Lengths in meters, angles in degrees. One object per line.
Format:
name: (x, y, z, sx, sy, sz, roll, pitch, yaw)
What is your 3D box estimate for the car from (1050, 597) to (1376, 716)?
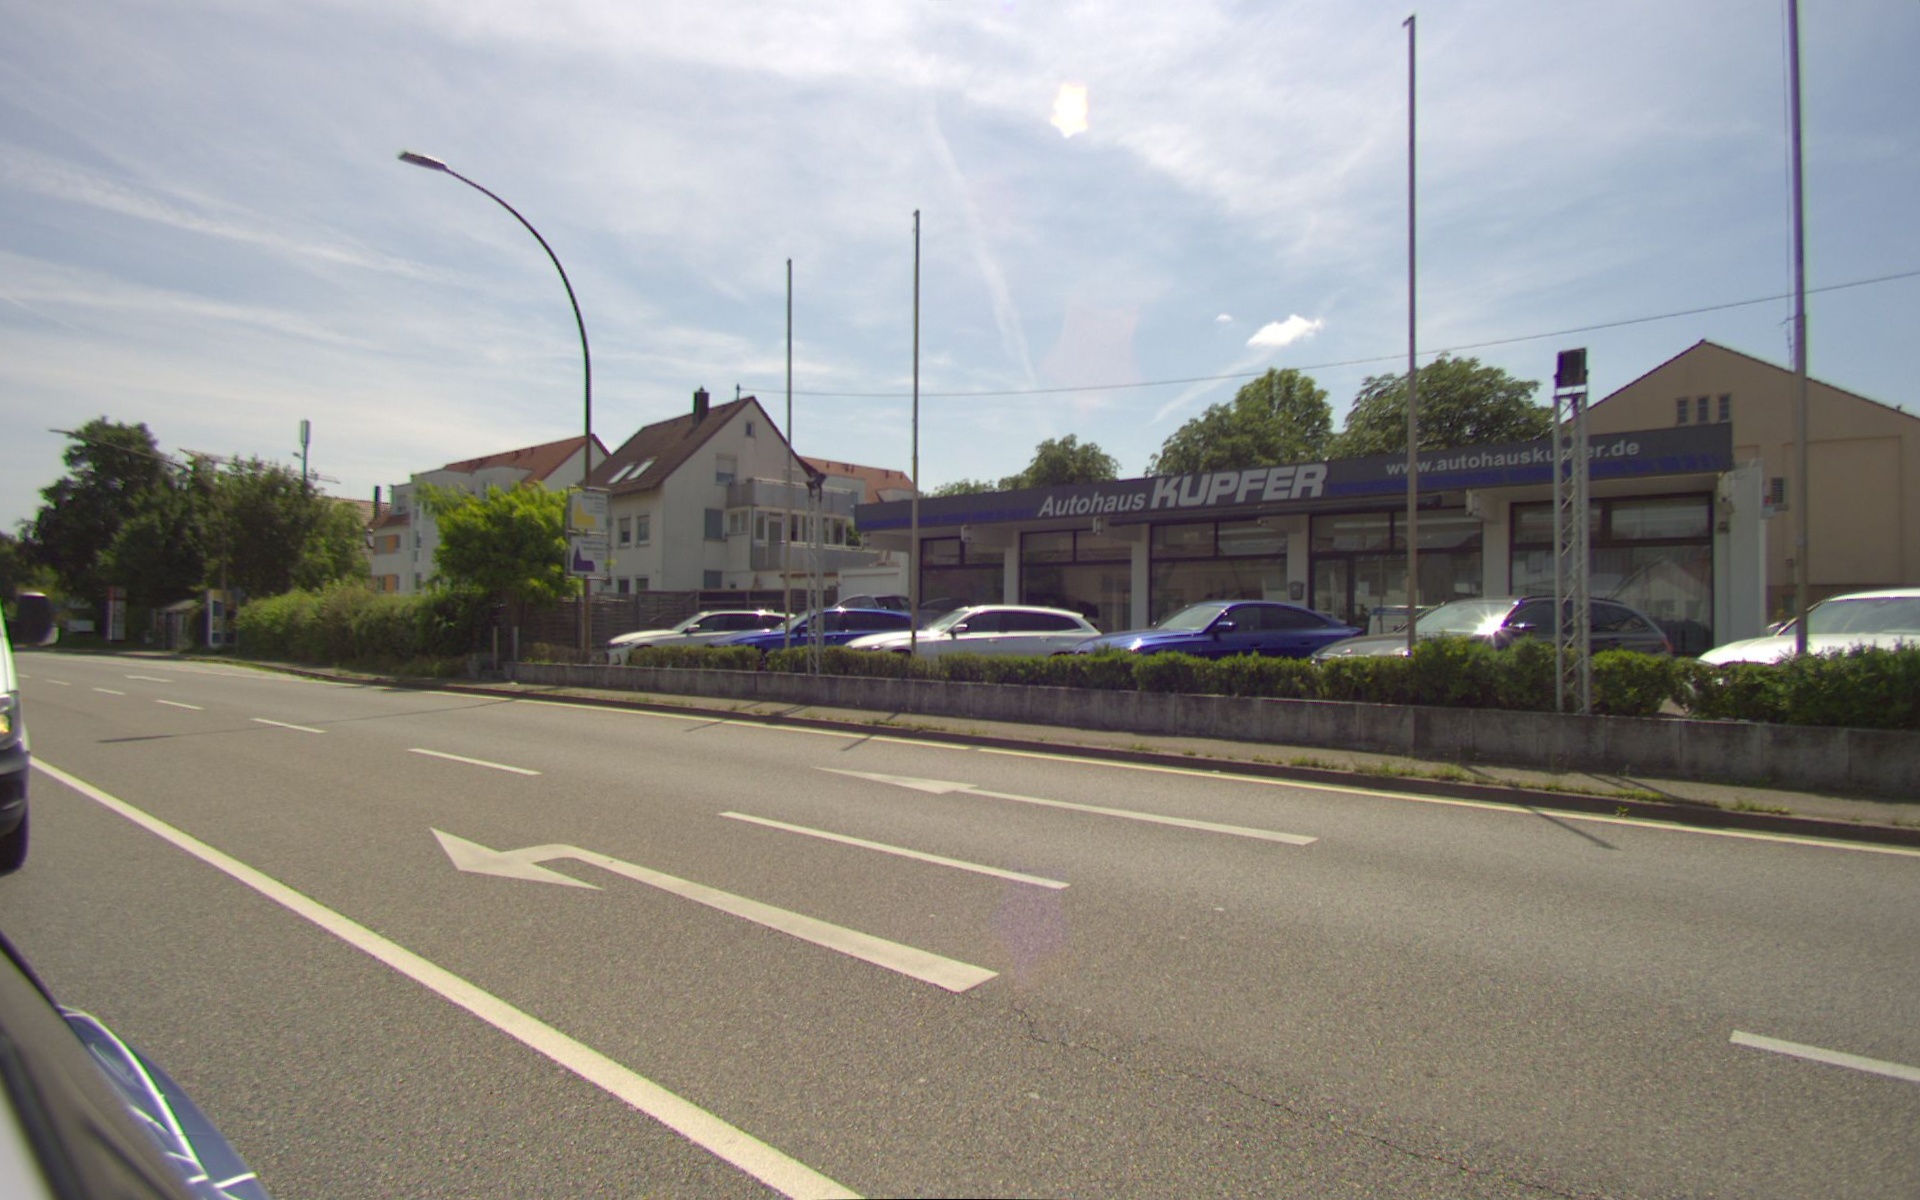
car: (3.669, 0.737, 14.778, 4.267, 1.458, 1.863, -1, 1, -19)

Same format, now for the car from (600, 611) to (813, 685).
car: (-5.791, 1.027, 23.057, 4.501, 1.458, 1.863, -1, 0, -21)

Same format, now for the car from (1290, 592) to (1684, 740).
car: (6.252, 0.654, 11.992, 4.267, 1.458, 1.905, -1, 0, -24)

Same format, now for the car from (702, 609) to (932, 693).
car: (-2.899, 0.959, 20.381, 4.267, 1.458, 1.863, -1, 0, -21)

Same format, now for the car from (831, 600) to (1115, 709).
car: (0.205, 0.847, 17.391, 4.438, 1.458, 1.863, -3, 1, -20)

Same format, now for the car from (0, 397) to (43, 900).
car: (-7.563, 0.296, 6.381, 5.744, 2.548, 1.915, -2, -1, 40)

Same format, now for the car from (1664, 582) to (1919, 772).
car: (8.914, 0.562, 9.496, 4.267, 1.458, 1.863, -1, 0, -24)

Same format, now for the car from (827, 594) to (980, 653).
car: (-1.629, 0.619, 27.693, 1.781, 1.475, 4.589, -1, -1, -40)
